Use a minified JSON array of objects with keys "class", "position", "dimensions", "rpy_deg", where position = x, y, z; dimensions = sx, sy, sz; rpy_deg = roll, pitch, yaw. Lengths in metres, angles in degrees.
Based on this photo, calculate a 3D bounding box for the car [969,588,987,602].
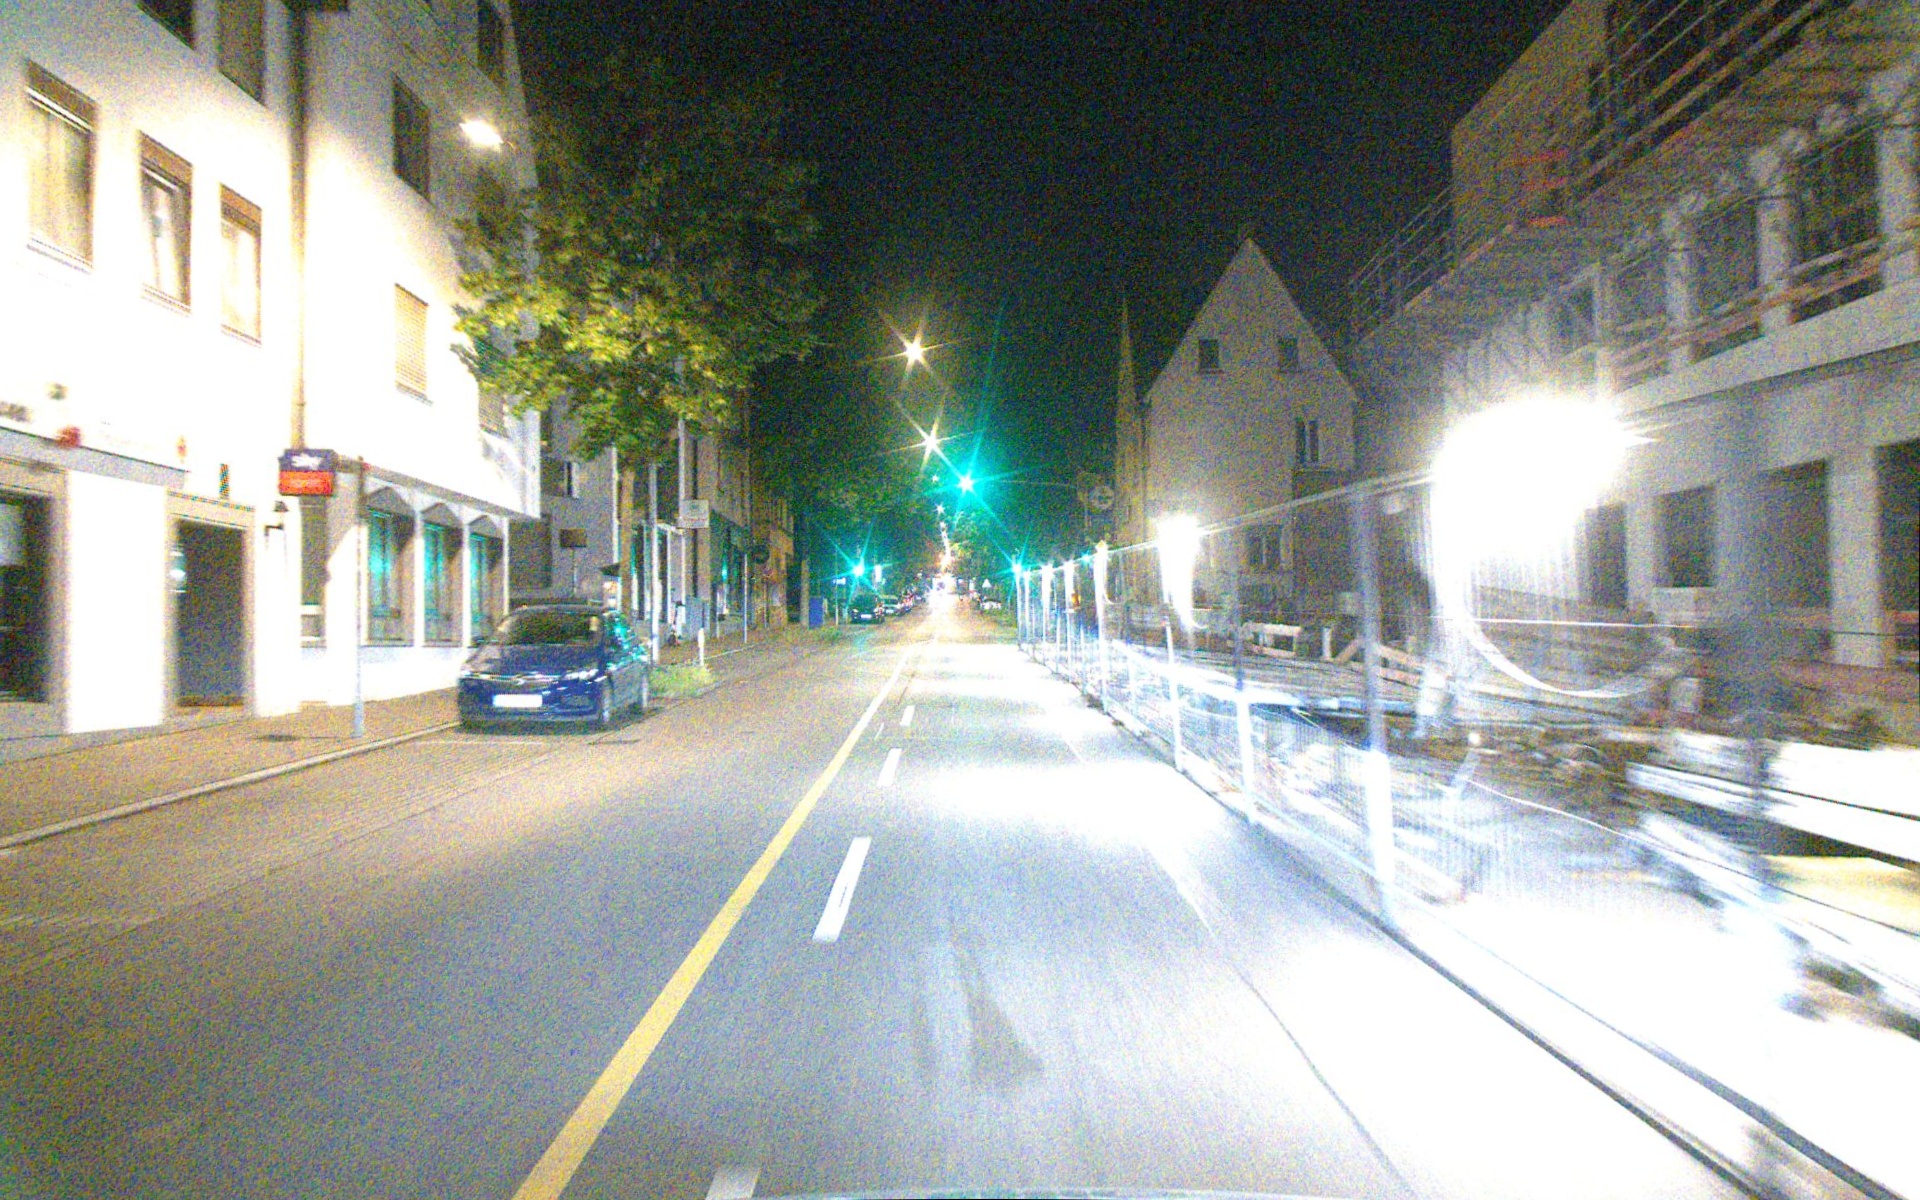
[{"class":"car","position":[1.975,-0.541,182.332],"dimensions":[1.835,1.571,4.204],"rpy_deg":[-1,0,0]}]

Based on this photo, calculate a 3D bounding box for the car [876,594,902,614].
[{"class":"car","position":[-5.564,0.317,130.216],"dimensions":[1.835,1.571,4.204],"rpy_deg":[-1,0,0]}]

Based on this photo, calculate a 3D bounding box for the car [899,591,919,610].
[{"class":"car","position":[-5.316,0.051,172.556],"dimensions":[1.835,1.846,4.205],"rpy_deg":[-1,0,1]}]

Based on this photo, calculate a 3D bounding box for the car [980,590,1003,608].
[{"class":"car","position":[2.735,-0.068,143.386],"dimensions":[1.835,1.571,4.204],"rpy_deg":[-1,0,0]}]

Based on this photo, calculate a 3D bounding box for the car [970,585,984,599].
[{"class":"car","position":[2.375,-1.072,230.899],"dimensions":[1.835,1.940,4.204],"rpy_deg":[-1,0,0]}]

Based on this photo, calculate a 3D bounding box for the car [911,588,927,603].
[{"class":"car","position":[-5.452,-0.593,220.785],"dimensions":[2.034,1.846,4.205],"rpy_deg":[-1,0,1]}]

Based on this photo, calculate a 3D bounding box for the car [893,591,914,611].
[{"class":"car","position":[-5.296,0.068,154.602],"dimensions":[1.835,1.846,4.204],"rpy_deg":[-1,0,0]}]

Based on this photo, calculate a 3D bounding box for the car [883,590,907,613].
[{"class":"car","position":[-5.311,0.137,136.301],"dimensions":[1.835,1.846,4.204],"rpy_deg":[0,0,0]}]

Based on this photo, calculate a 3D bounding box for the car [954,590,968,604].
[{"class":"car","position":[0.088,-0.434,223.030],"dimensions":[1.835,1.846,4.205],"rpy_deg":[-1,0,1]}]

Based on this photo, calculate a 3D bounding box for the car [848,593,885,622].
[{"class":"car","position":[-5.212,0.436,92.912],"dimensions":[1.835,1.571,4.204],"rpy_deg":[-1,0,0]}]

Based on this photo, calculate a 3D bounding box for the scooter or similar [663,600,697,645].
[{"class":"scooter or similar","position":[-7.910,0.648,46.733],"dimensions":[0.517,1.185,2.506],"rpy_deg":[-2,-2,-1]}]

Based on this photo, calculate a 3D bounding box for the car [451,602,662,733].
[{"class":"car","position":[-4.954,0.767,20.841],"dimensions":[1.637,1.469,4.204],"rpy_deg":[-1,0,0]}]
